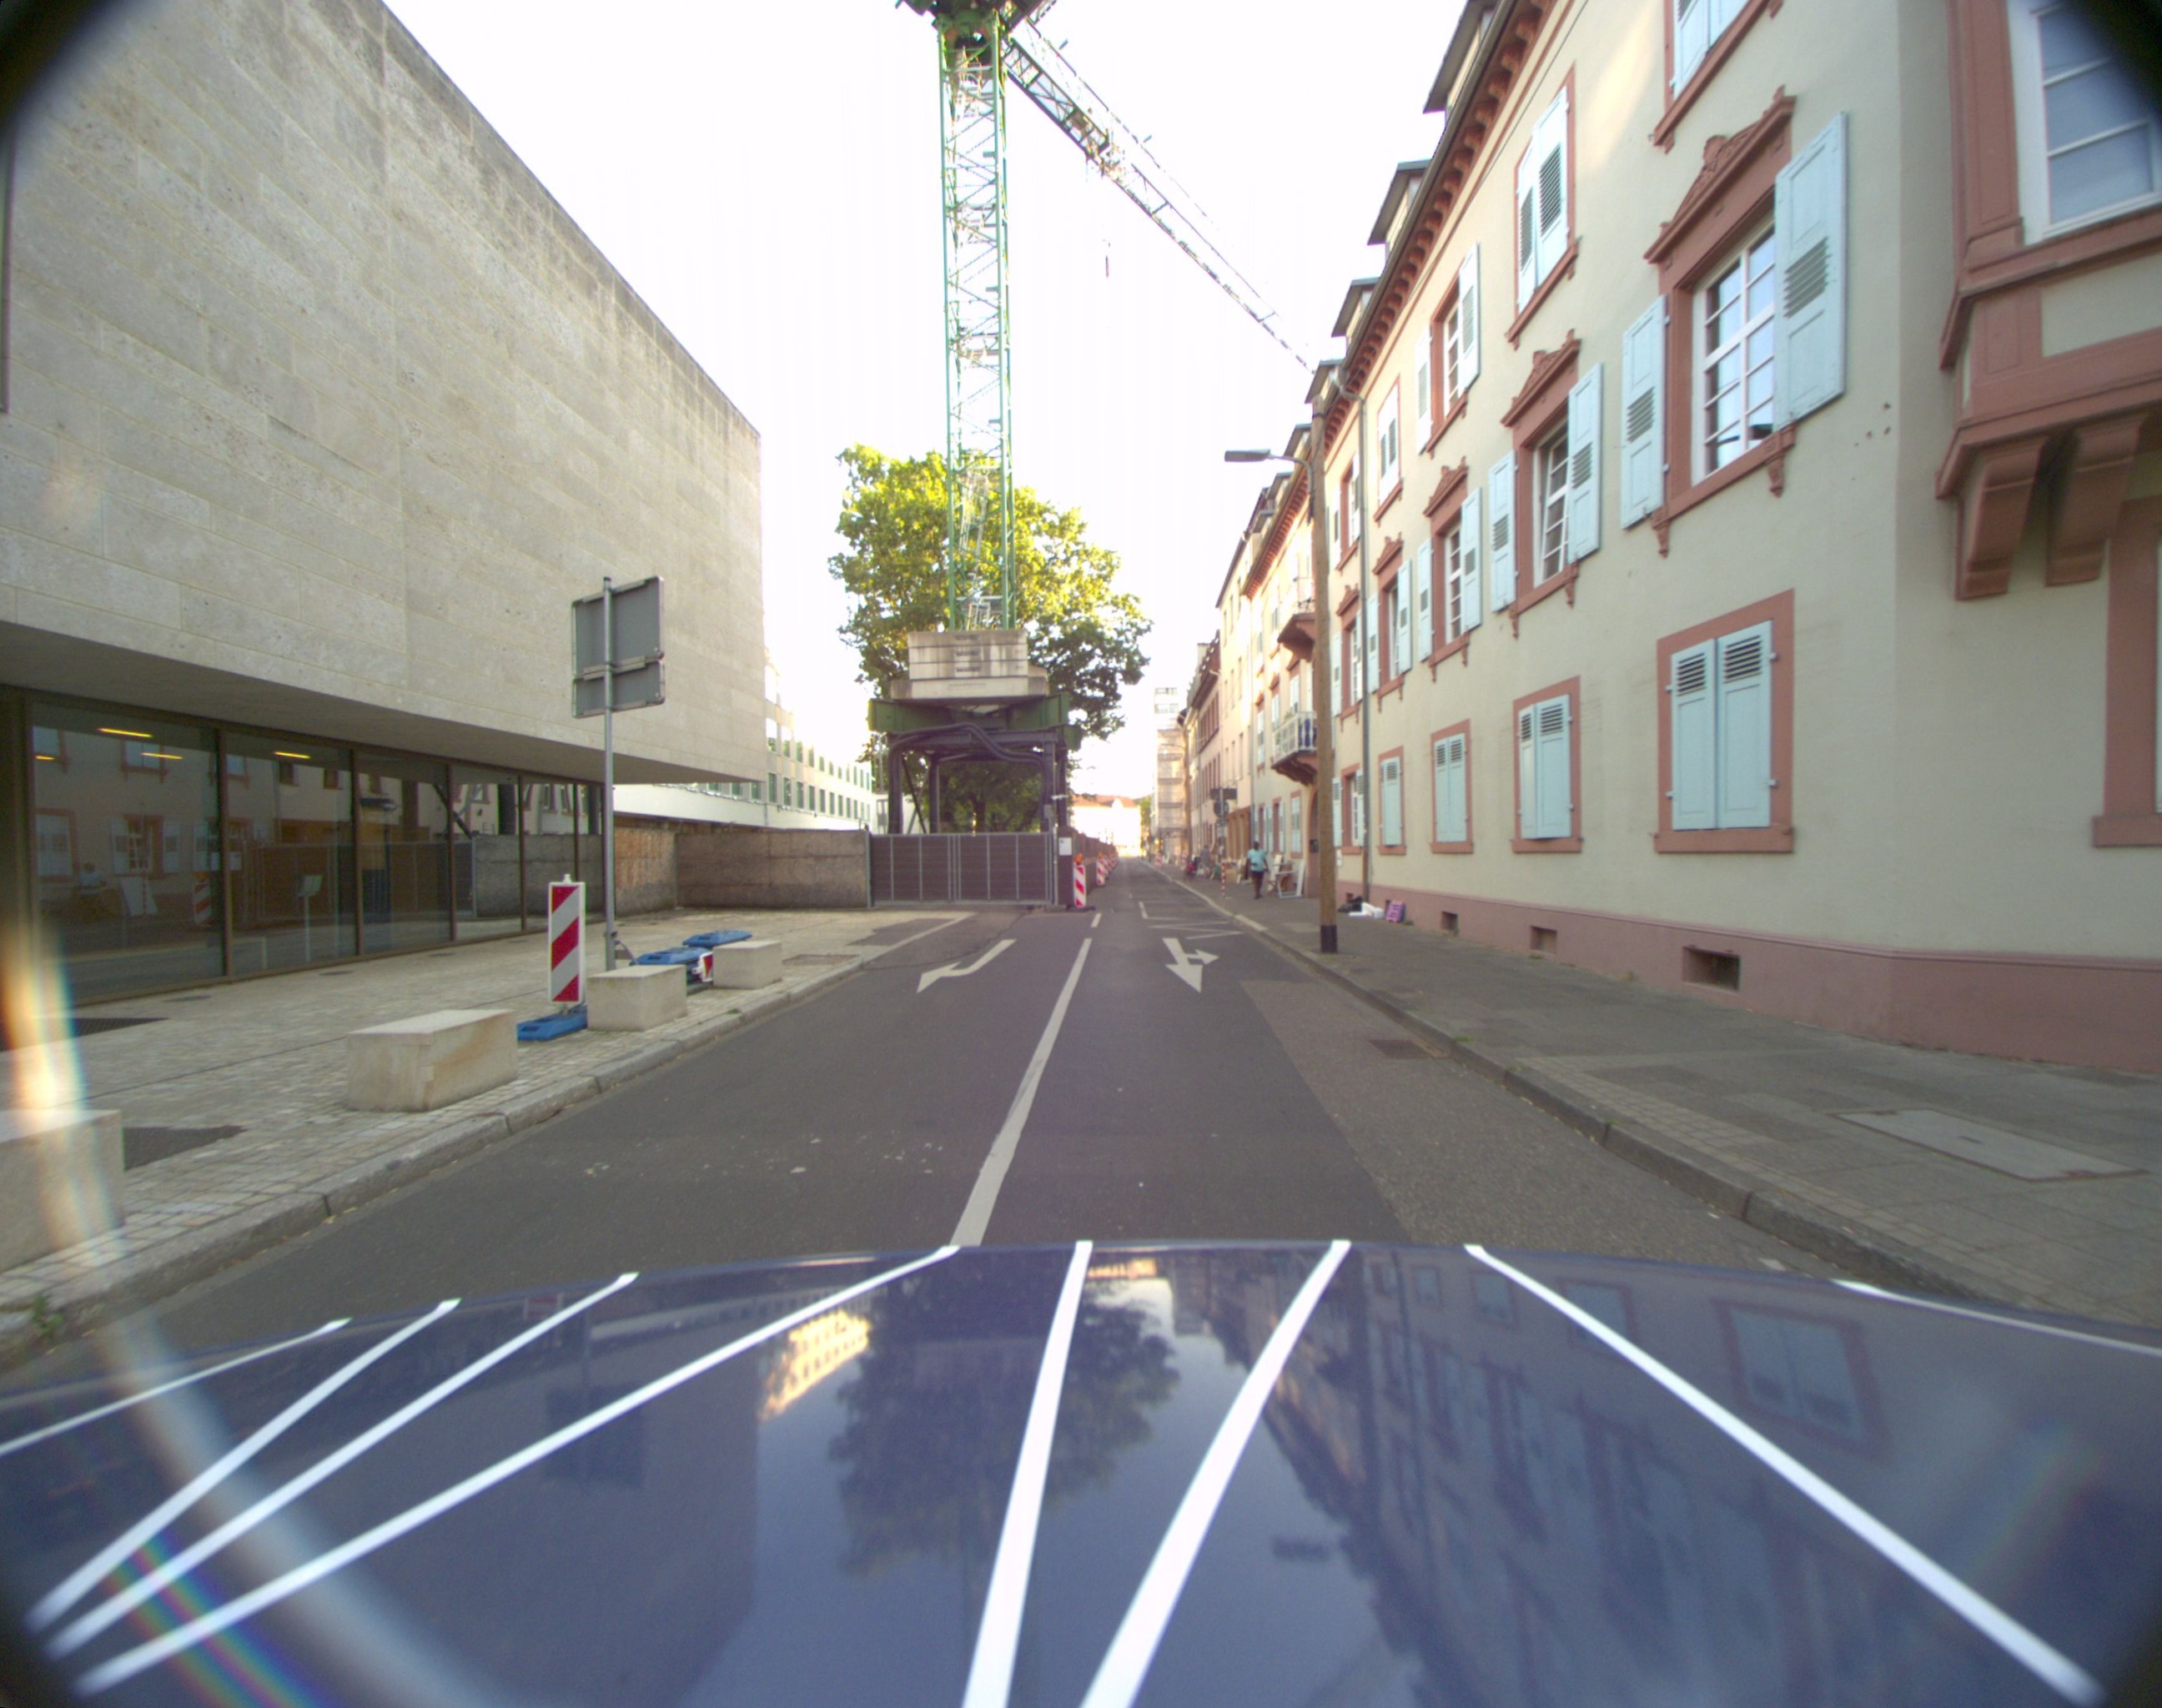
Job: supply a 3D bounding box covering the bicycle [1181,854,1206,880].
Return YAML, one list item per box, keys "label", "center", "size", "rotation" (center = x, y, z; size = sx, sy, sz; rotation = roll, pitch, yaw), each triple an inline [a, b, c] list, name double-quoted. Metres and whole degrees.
- label: "bicycle"
  center: [5.419, 0.604, 36.504]
  size: [0.659, 1.163, 1.611]
  rotation: [-1, 1, 29]

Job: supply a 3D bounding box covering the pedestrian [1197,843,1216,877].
- label: "pedestrian"
  center: [6.359, 0.296, 38.426]
  size: [0.826, 1.687, 0.649]
  rotation: [-2, 1, 2]

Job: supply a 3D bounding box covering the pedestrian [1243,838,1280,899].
- label: "pedestrian"
  center: [5.233, 0.425, 22.095]
  size: [0.826, 1.687, 0.649]
  rotation: [-4, 1, 2]
